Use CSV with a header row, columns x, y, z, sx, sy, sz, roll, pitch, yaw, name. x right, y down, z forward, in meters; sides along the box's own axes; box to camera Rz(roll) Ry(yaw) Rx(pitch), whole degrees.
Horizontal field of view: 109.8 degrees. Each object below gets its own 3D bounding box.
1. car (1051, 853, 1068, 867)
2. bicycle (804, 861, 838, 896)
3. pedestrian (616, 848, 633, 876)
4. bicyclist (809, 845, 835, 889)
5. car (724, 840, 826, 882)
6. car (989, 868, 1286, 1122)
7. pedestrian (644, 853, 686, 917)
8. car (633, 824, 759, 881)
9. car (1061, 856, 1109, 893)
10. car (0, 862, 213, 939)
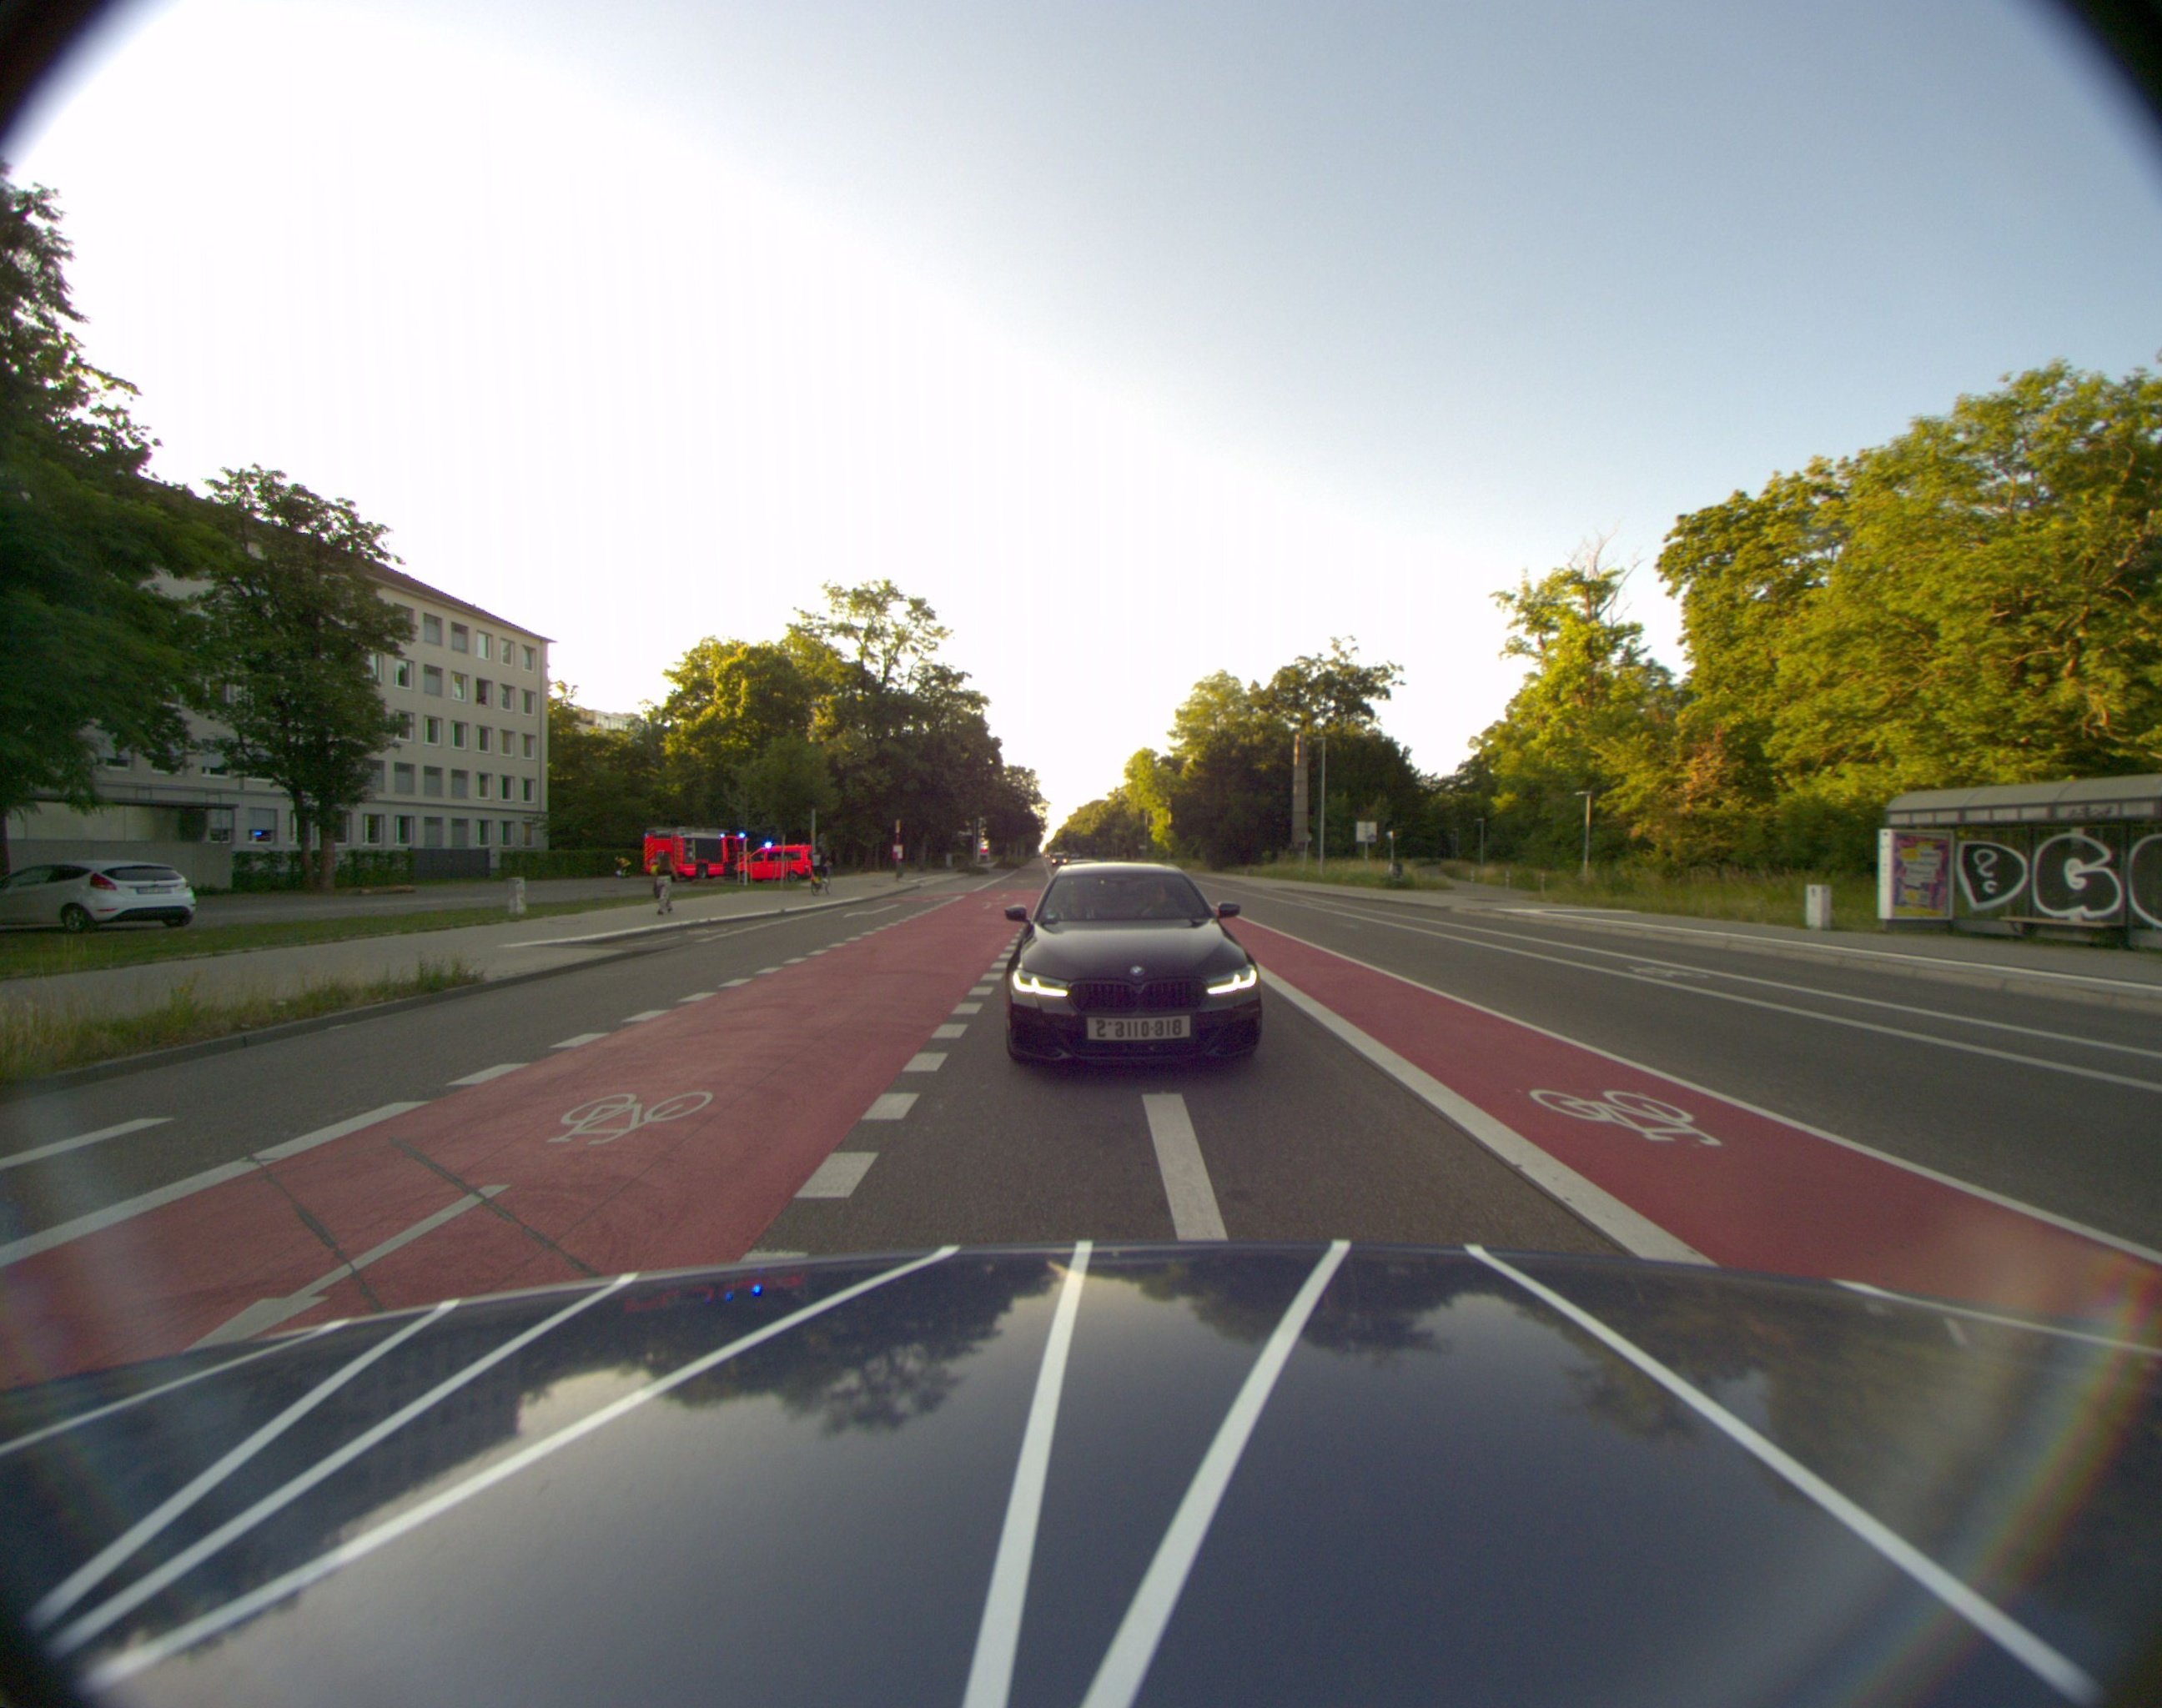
x,y,z,sx,sy,sz,roll,pitch,yaw,name
-2.661,0.710,91.959,1.850,1.473,4.701,-2,0,-3,car
-9.567,0.878,28.023,0.571,1.233,1.899,0,1,1,bicycle
-29.586,0.529,49.217,0.847,1.831,0.682,0,0,-21,pedestrian
-9.563,0.470,28.095,0.571,1.623,1.038,0,1,1,bicyclist
-17.940,0.393,44.706,5.164,2.379,2.000,0,1,3,car
0.274,0.929,7.368,1.818,1.391,5.212,-2,0,-2,car
-10.702,0.786,19.565,0.682,1.613,0.688,0,0,1,pedestrian
-23.621,-0.138,47.235,2.770,3.225,8.301,0,0,7,car
0.120,0.808,32.299,1.850,1.346,4.702,-2,0,-1,car
-20.816,0.922,15.877,3.662,1.451,1.665,0,1,5,car
